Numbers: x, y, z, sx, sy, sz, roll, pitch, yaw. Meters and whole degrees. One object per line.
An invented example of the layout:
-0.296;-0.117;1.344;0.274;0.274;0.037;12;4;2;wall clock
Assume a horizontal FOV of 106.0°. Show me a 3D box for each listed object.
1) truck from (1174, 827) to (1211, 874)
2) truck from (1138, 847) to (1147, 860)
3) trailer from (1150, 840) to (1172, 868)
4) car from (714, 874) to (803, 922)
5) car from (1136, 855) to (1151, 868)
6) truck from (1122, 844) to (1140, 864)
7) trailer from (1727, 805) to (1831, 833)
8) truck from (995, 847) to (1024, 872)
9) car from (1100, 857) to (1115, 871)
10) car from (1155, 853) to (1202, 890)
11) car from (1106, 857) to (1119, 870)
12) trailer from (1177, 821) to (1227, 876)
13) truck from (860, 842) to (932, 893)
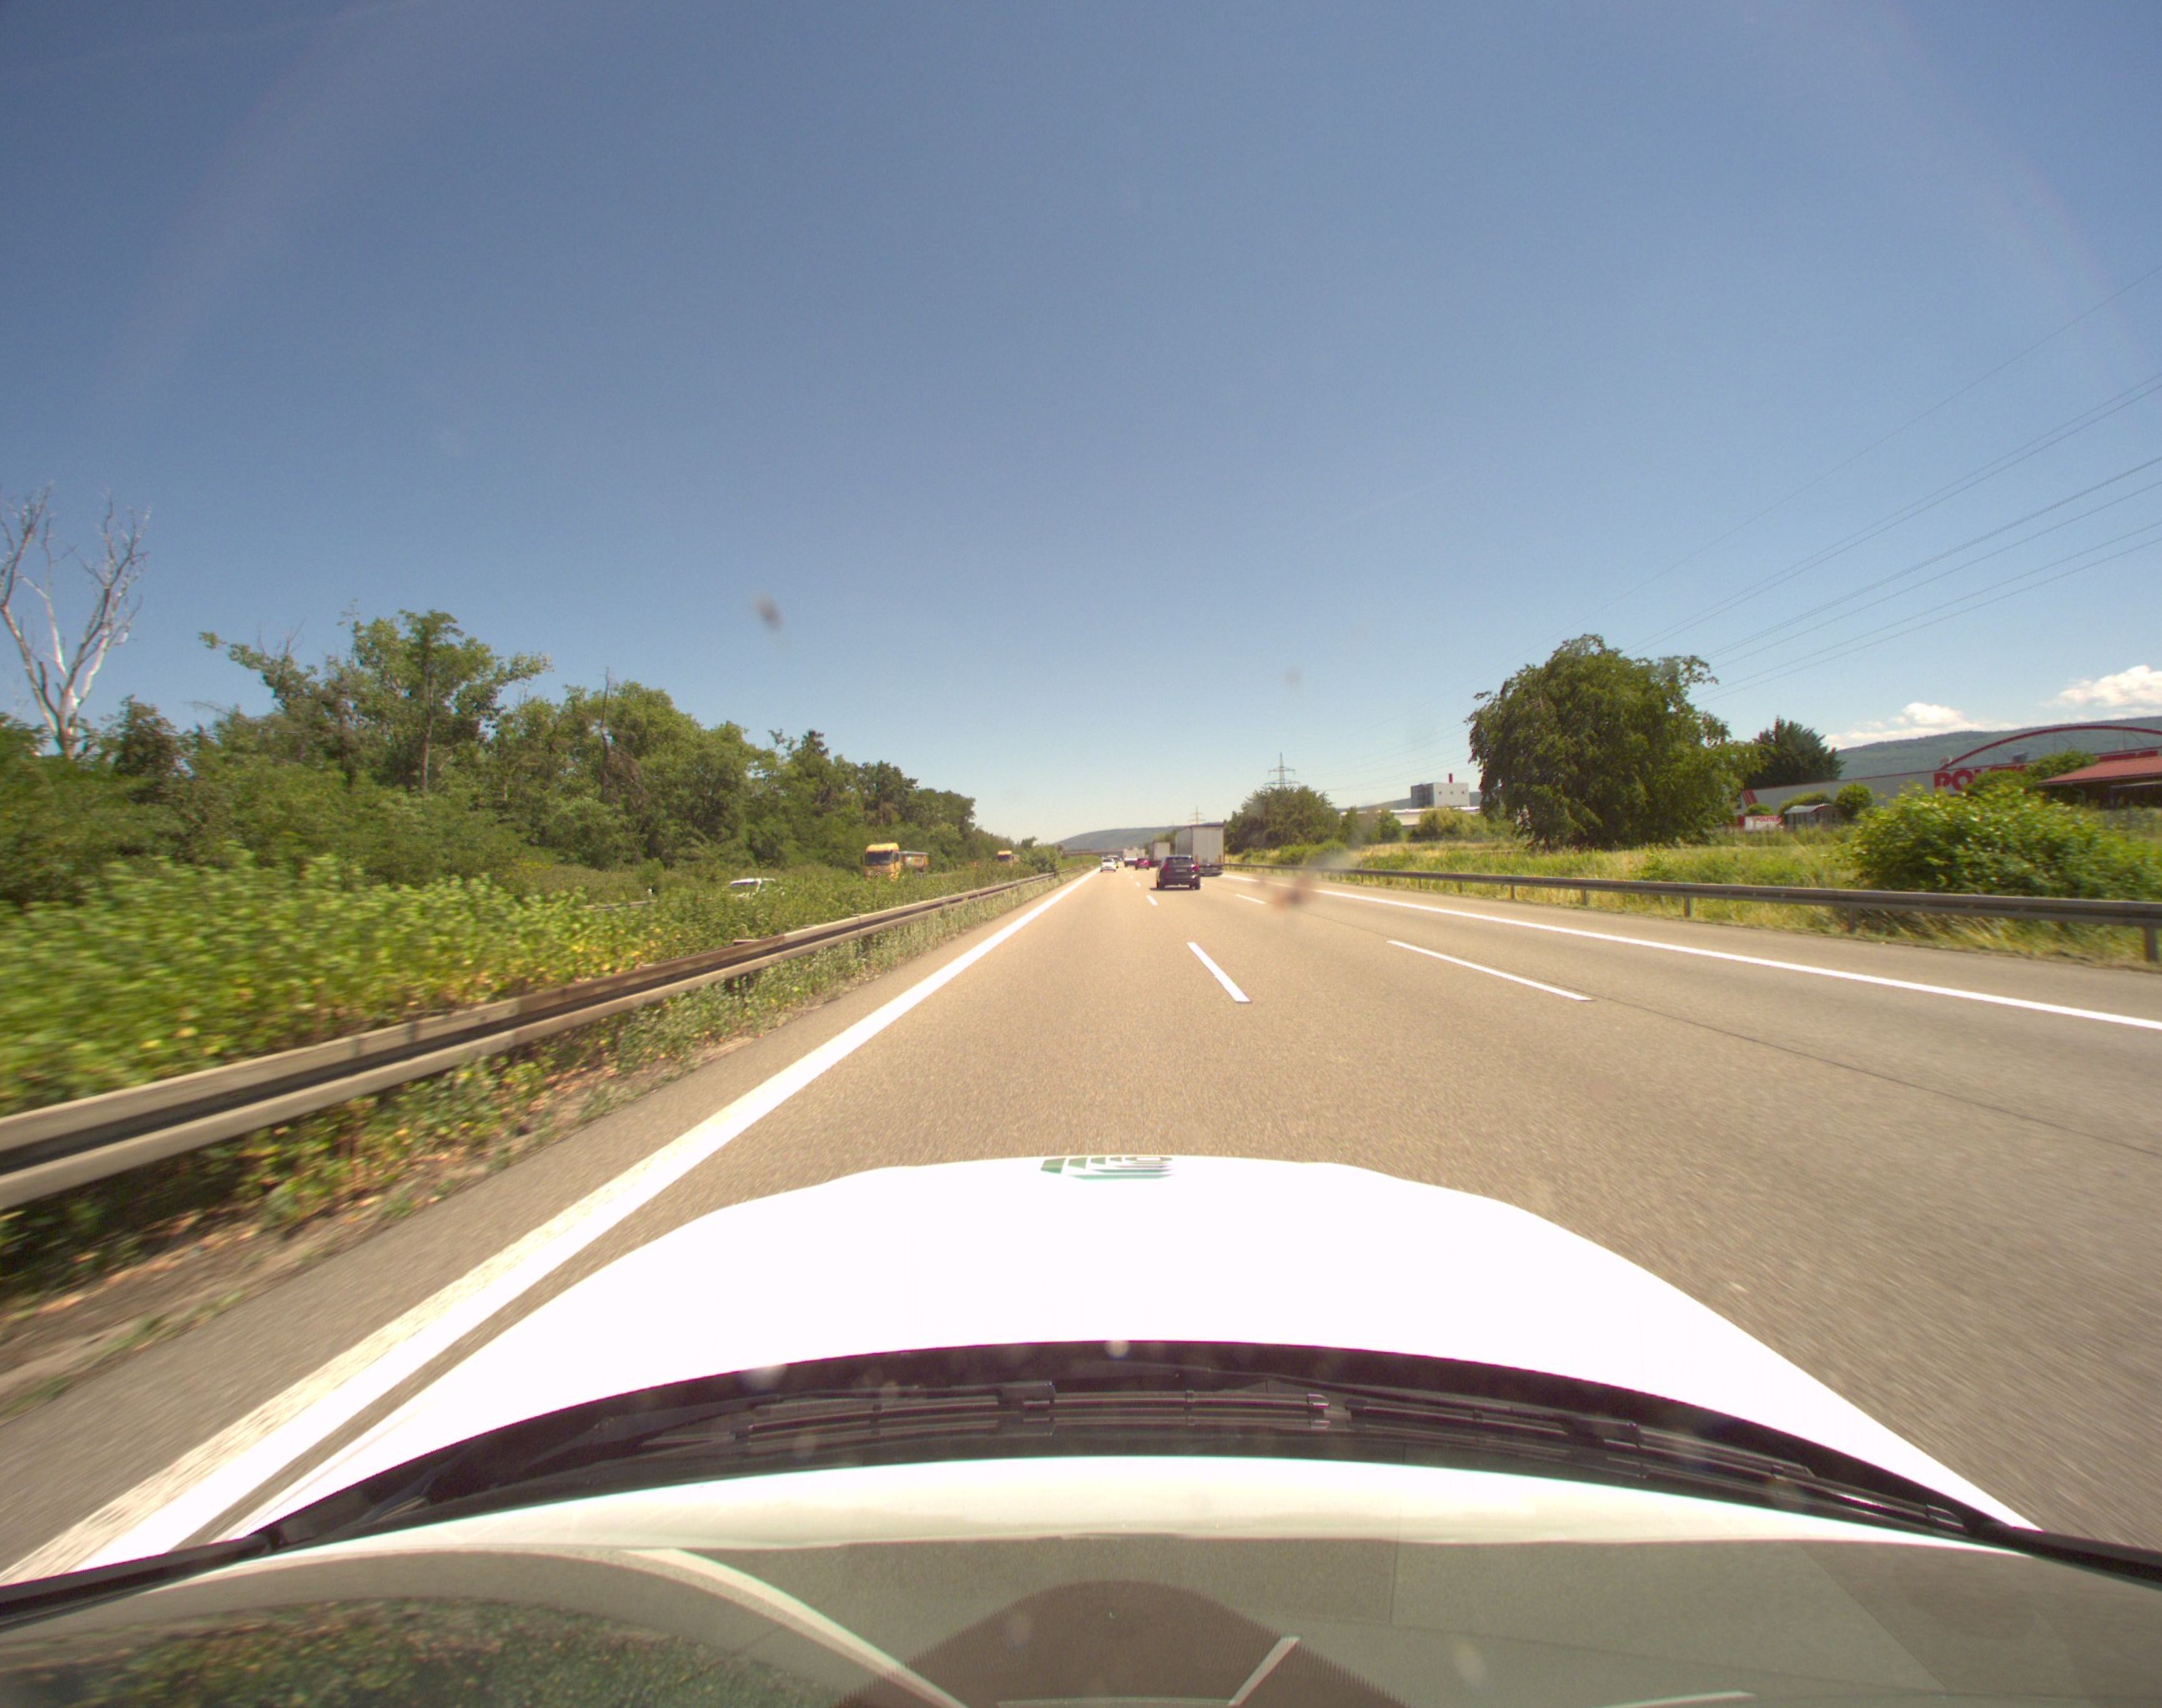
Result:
10.237;-0.302;75.421;2.725;4.120;6.128;-1;-1;2;truck
16.586;-0.080;219.980;2.212;3.209;10.390;-2;0;2;truck
12.873;0.011;132.318;2.777;4.164;13.583;-3;-1;3;trailer
-12.080;1.612;30.742;1.633;1.482;3.746;-5;-1;2;car
8.022;0.987;104.709;1.796;1.545;4.002;-1;-1;2;car
8.578;0.069;140.452;2.771;3.373;8.131;-1;-1;2;truck
71.821;-3.581;83.914;7.874;2.381;2.982;-3;0;3;trailer
-11.618;0.871;133.386;2.888;3.706;11.905;-4;0;2;truck
2.950;1.112;90.345;1.601;1.468;4.002;-2;0;2;car
4.610;0.797;38.826;1.866;1.623;4.006;-1;0;2;car
4.708;1.354;122.319;1.754;1.850;4.001;-2;0;2;car
9.944;-0.345;68.294;2.725;4.107;13.129;-1;0;2;trailer
-14.942;1.040;66.769;2.528;3.634;11.850;-4;-1;2;truck
